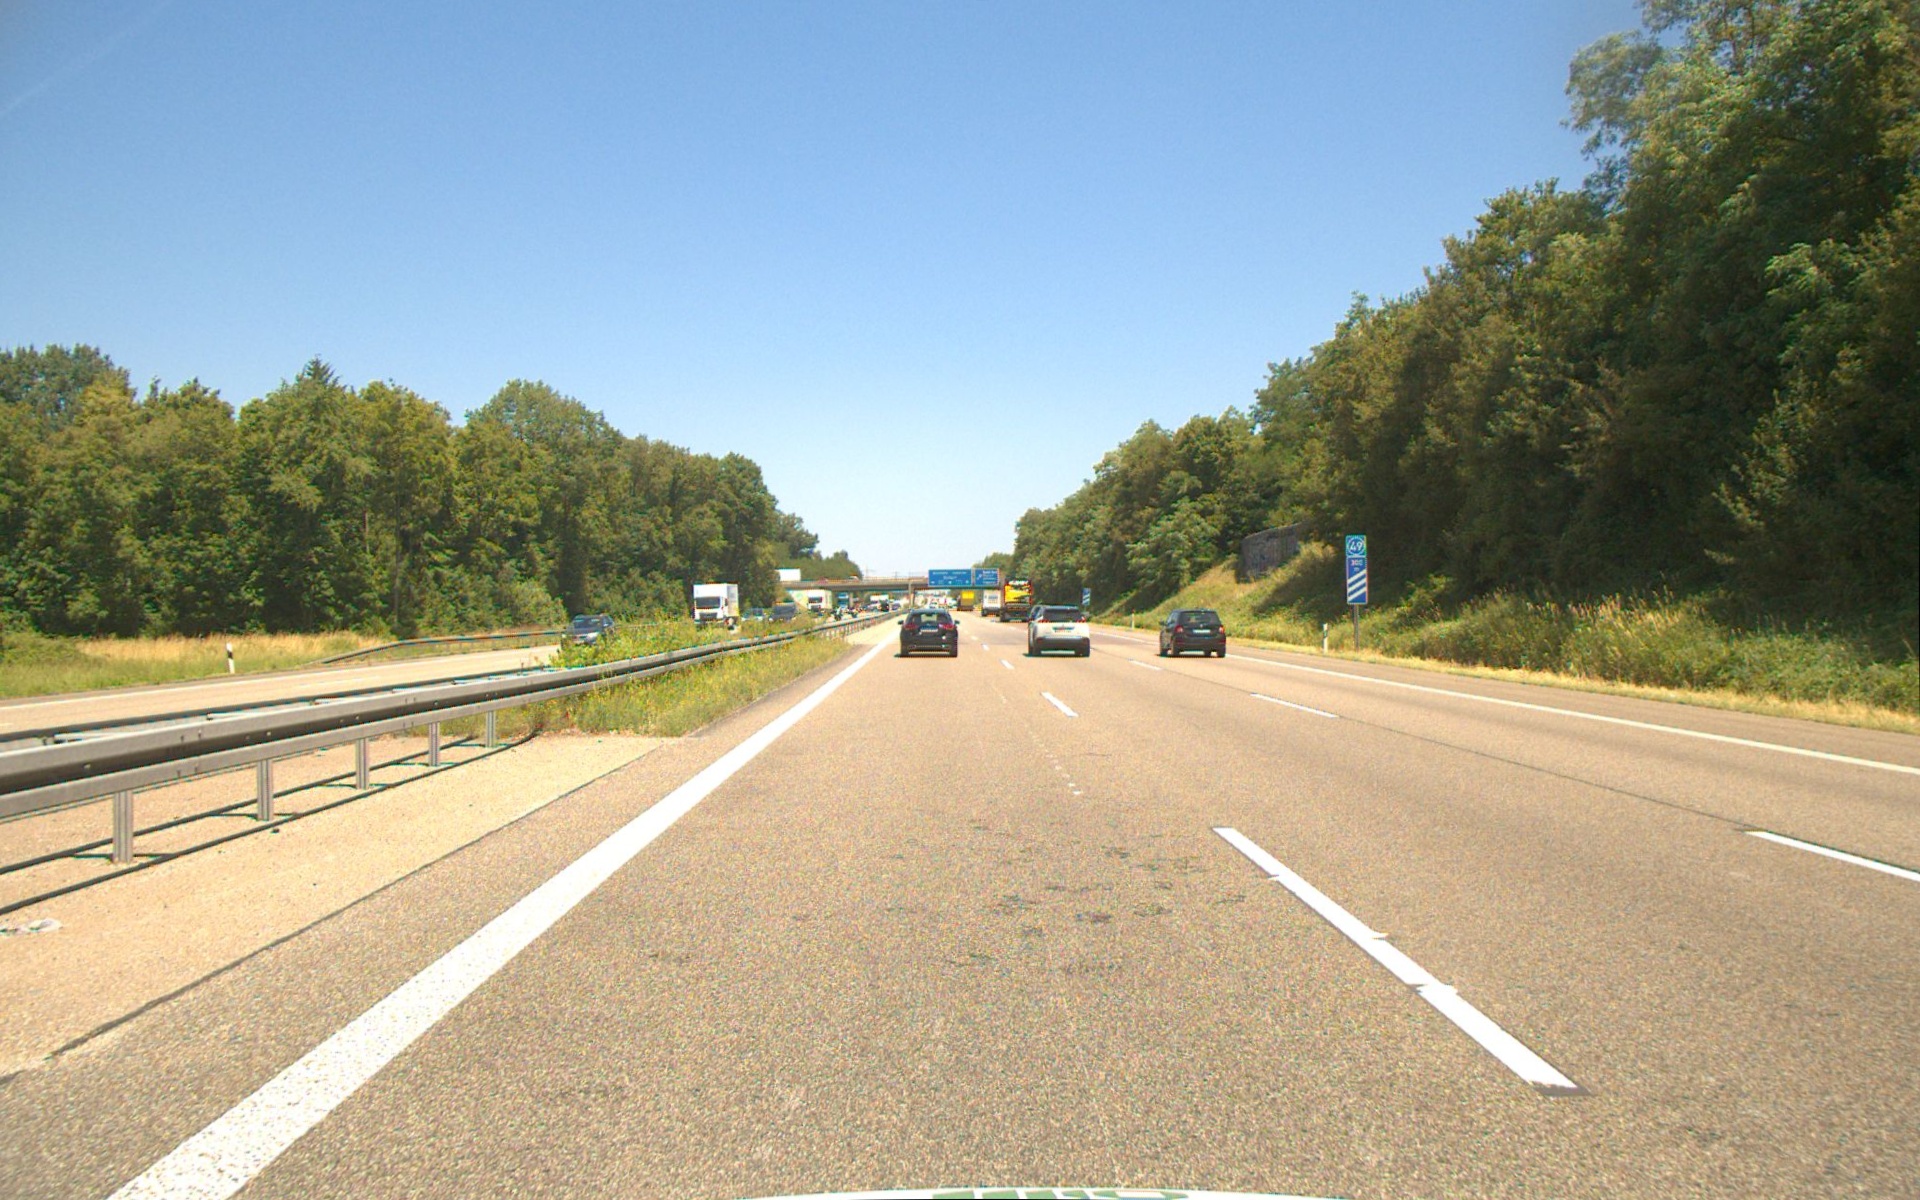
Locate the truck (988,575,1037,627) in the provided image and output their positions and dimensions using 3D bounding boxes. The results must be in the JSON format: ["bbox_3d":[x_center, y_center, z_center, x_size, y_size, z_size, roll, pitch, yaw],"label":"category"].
[{"bbox_3d":[4.883,0.130,157.588,3.574,4.670,15.759,1,0,-2],"label":"truck"}]

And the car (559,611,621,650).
[{"bbox_3d":[-15.894,1.284,71.243,1.763,1.559,4.676,0,0,-2],"label":"car"}]

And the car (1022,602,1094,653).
[{"bbox_3d":[3.041,0.833,52.082,1.861,1.559,4.239,0,0,-2],"label":"car"}]

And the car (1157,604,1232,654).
[{"bbox_3d":[7.218,0.874,51.284,1.753,1.487,3.949,0,0,0],"label":"car"}]

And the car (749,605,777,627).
[{"bbox_3d":[-14.735,1.176,123.810,1.763,1.559,4.239,0,0,-2],"label":"car"}]

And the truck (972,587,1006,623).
[{"bbox_3d":[3.782,0.700,221.664,3.574,4.670,17.239,1,0,-2],"label":"truck"}]

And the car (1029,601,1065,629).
[{"bbox_3d":[5.885,1.002,112.027,2.034,1.781,4.239,-1,0,-2],"label":"car"}]

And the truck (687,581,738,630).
[{"bbox_3d":[-19.882,0.424,133.395,2.739,3.696,10.692,-1,0,-2],"label":"truck"}]

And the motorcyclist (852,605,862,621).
[{"bbox_3d":[-11.984,1.513,192.122,1.129,1.847,1.027,-1,-1,-1],"label":"motorcyclist"}]

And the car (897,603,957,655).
[{"bbox_3d":[-1.046,0.863,50.997,1.763,1.528,4.239,0,0,-2],"label":"car"}]

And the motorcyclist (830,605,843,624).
[{"bbox_3d":[-12.128,1.396,162.376,1.129,1.847,1.027,-1,-1,-1],"label":"motorcyclist"}]

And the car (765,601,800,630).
[{"bbox_3d":[-10.876,0.926,101.724,1.763,1.725,4.240,0,0,-1],"label":"car"}]

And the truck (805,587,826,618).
[{"bbox_3d":[-21.940,0.450,251.535,2.698,4.485,12.642,1,-1,-3],"label":"truck"}]
